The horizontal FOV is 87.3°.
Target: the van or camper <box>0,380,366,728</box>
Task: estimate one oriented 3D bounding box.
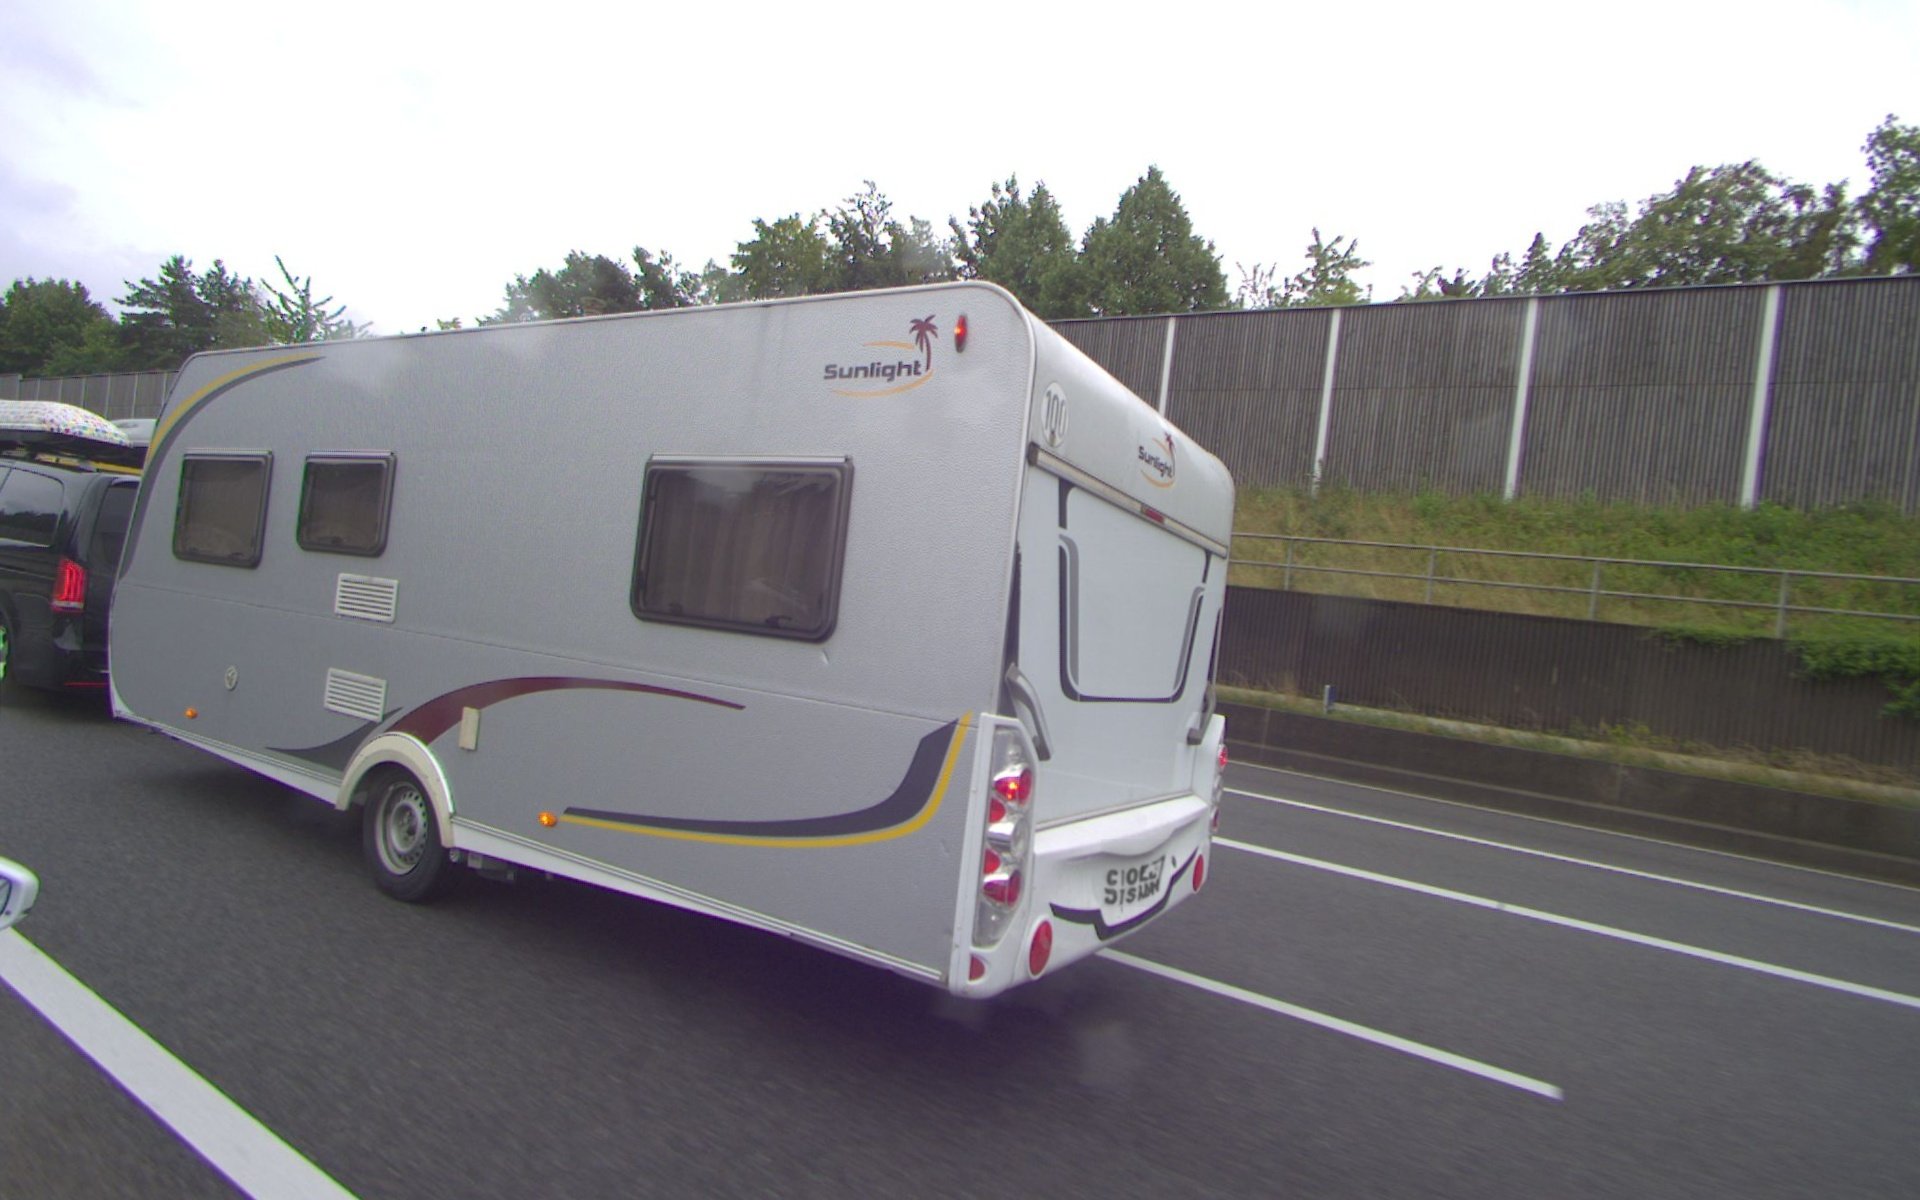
[{"bbox_3d":[-7.835,-0.475,8.869,5.585,2.296,1.894,7,-2,32],"label":"van or camper"}]

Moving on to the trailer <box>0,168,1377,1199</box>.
[{"bbox_3d":[-1.986,0.019,5.531,7.384,2.673,2.727,7,-2,30],"label":"trailer"}]

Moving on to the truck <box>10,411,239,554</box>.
[{"bbox_3d":[-28.365,-4.049,33.997,9.170,4.004,2.691,6,-2,31],"label":"truck"}]

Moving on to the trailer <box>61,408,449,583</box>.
[{"bbox_3d":[-21.550,-3.330,29.930,16.406,3.999,2.656,6,-2,31],"label":"trailer"}]
